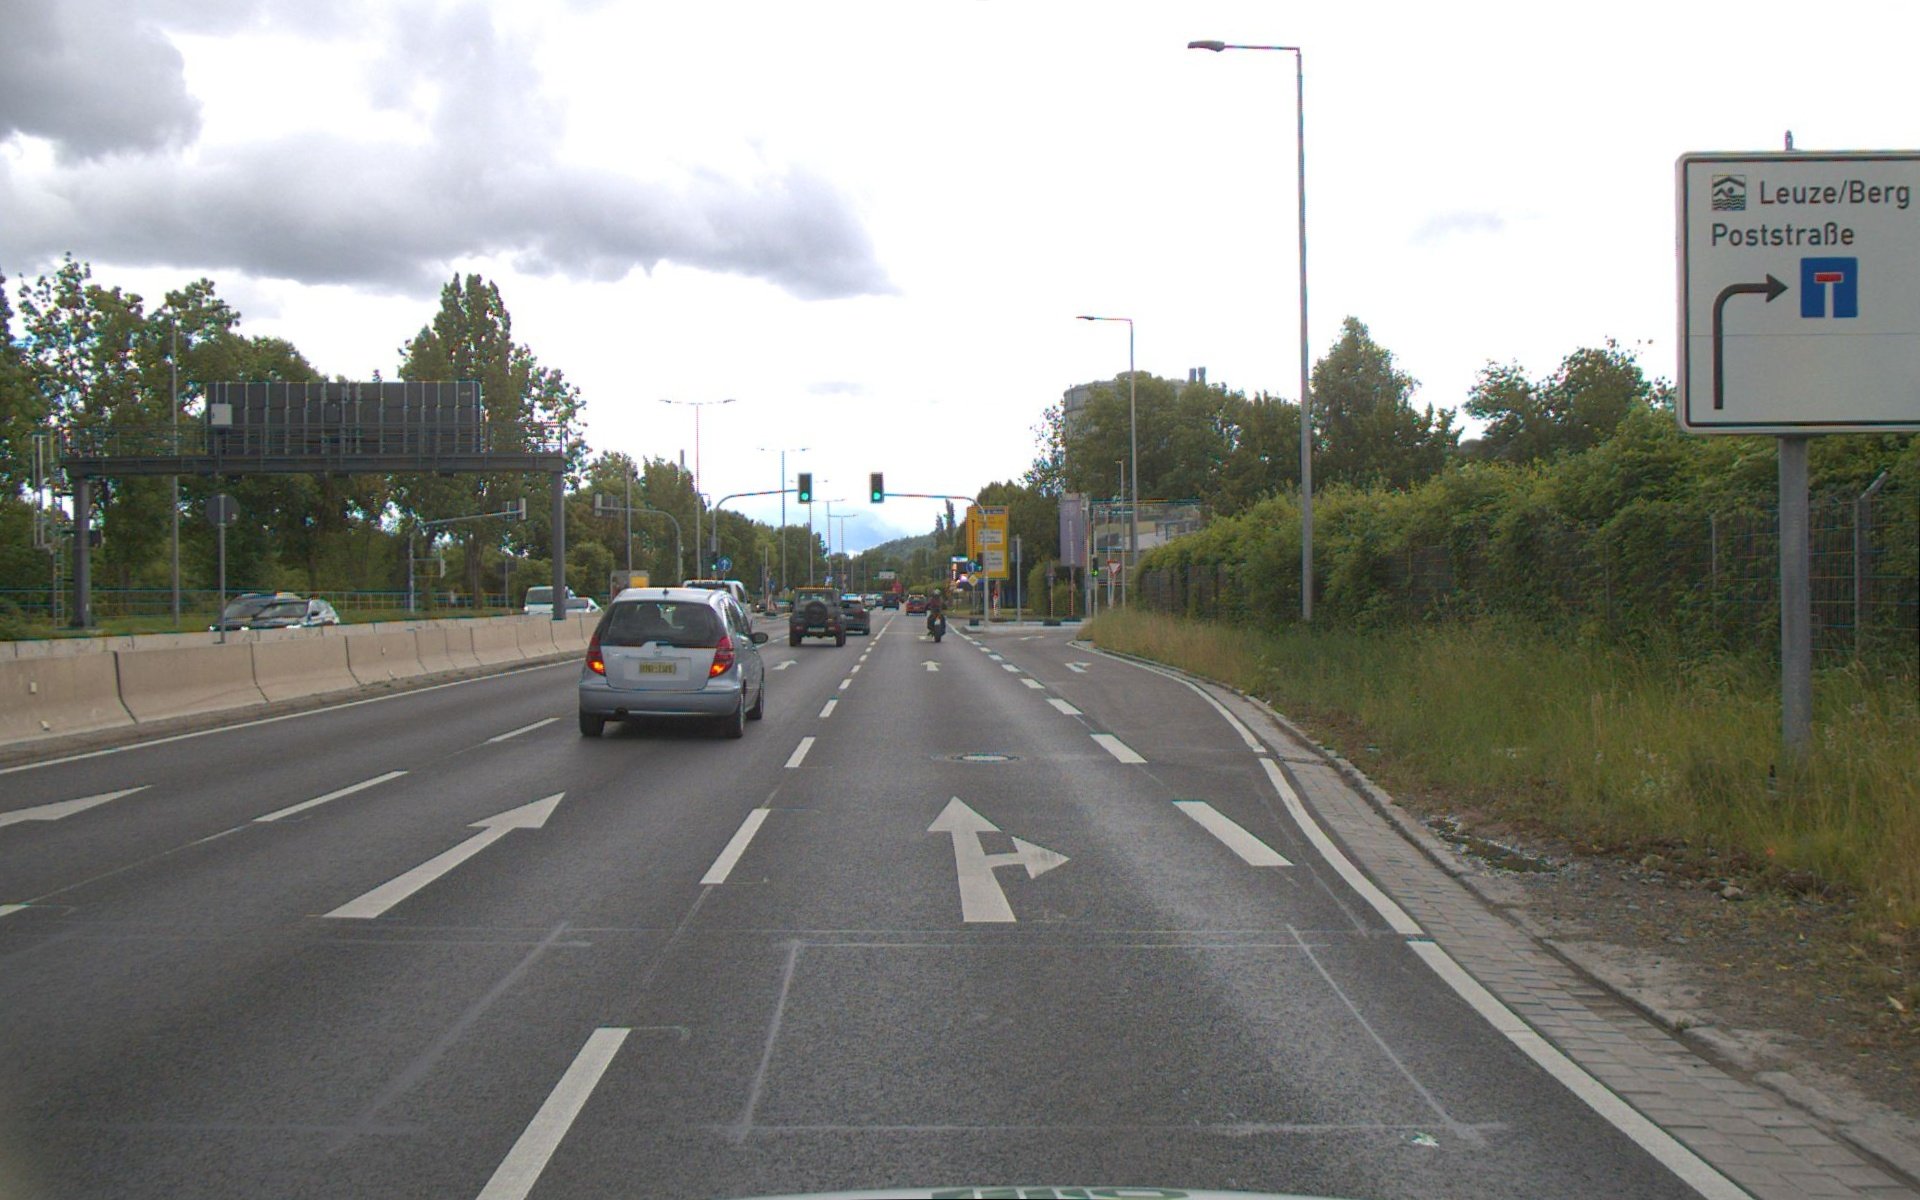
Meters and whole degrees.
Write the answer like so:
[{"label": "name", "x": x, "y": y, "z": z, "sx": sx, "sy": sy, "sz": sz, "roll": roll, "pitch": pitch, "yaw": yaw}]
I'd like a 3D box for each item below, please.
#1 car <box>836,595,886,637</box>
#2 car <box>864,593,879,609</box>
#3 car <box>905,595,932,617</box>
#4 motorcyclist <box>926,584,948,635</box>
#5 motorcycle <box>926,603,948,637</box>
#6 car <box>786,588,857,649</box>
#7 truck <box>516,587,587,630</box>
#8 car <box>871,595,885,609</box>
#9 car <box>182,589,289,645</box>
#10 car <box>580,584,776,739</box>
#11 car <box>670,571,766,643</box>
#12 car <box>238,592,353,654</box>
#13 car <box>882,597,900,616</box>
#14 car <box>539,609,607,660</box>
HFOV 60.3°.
[{"label": "car", "x": -3.835, "y": 0.598, "z": 64.422, "sx": 1.803, "sy": 1.489, "sz": 3.999, "roll": 1, "pitch": 0, "yaw": -2}, {"label": "car", "x": -12.289, "y": 0.158, "z": 229.441, "sx": 1.953, "sy": 2.049, "sz": 3.999, "roll": 1, "pitch": 0, "yaw": -1}, {"label": "car", "x": -3.197, "y": 0.465, "z": 127.162, "sx": 1.954, "sy": 1.579, "sz": 3.998, "roll": 1, "pitch": 0, "yaw": -3}, {"label": "motorcyclist", "x": -0.737, "y": 0.292, "z": 54.207, "sx": 0.671, "sy": 1.638, "sz": 0.845, "roll": 1, "pitch": 0, "yaw": 0}, {"label": "motorcycle", "x": -0.748, "y": 0.631, "z": 54.135, "sx": 0.692, "sy": 1.058, "sz": 2.027, "roll": 1, "pitch": 0, "yaw": 0}, {"label": "car", "x": -4.137, "y": 0.514, "z": 50.074, "sx": 1.869, "sy": 1.713, "sz": 3.999, "roll": 1, "pitch": 0, "yaw": -2}, {"label": "truck", "x": -20.578, "y": 0.391, "z": 83.665, "sx": 2.160, "sy": 2.049, "sz": 6.300, "roll": 1, "pitch": 0, "yaw": -2}, {"label": "car", "x": -12.746, "y": 0.252, "z": 256.614, "sx": 1.953, "sy": 2.049, "sz": 3.999, "roll": 1, "pitch": 0, "yaw": -1}, {"label": "car", "x": -23.719, "y": 0.517, "z": 54.283, "sx": 1.840, "sy": 1.712, "sz": 3.926, "roll": 1, "pitch": 0, "yaw": -2}, {"label": "car", "x": -3.122, "y": 0.617, "z": 19.010, "sx": 1.676, "sy": 1.556, "sz": 3.998, "roll": 1, "pitch": 0, "yaw": -2}, {"label": "car", "x": -7.072, "y": 0.161, "z": 48.833, "sx": 2.170, "sy": 1.959, "sz": 5.001, "roll": 1, "pitch": 0, "yaw": -1}, {"label": "car", "x": -19.637, "y": 0.642, "z": 49.050, "sx": 1.840, "sy": 1.712, "sz": 4.124, "roll": 1, "pitch": 0, "yaw": -2}, {"label": "car", "x": -7.828, "y": 0.734, "z": 187.557, "sx": 1.953, "sy": 2.049, "sz": 3.999, "roll": 1, "pitch": 0, "yaw": -2}, {"label": "car", "x": -16.894, "y": 1.467, "z": 72.330, "sx": 1.953, "sy": 2.049, "sz": 4.680, "roll": 1, "pitch": 0, "yaw": -2}]
